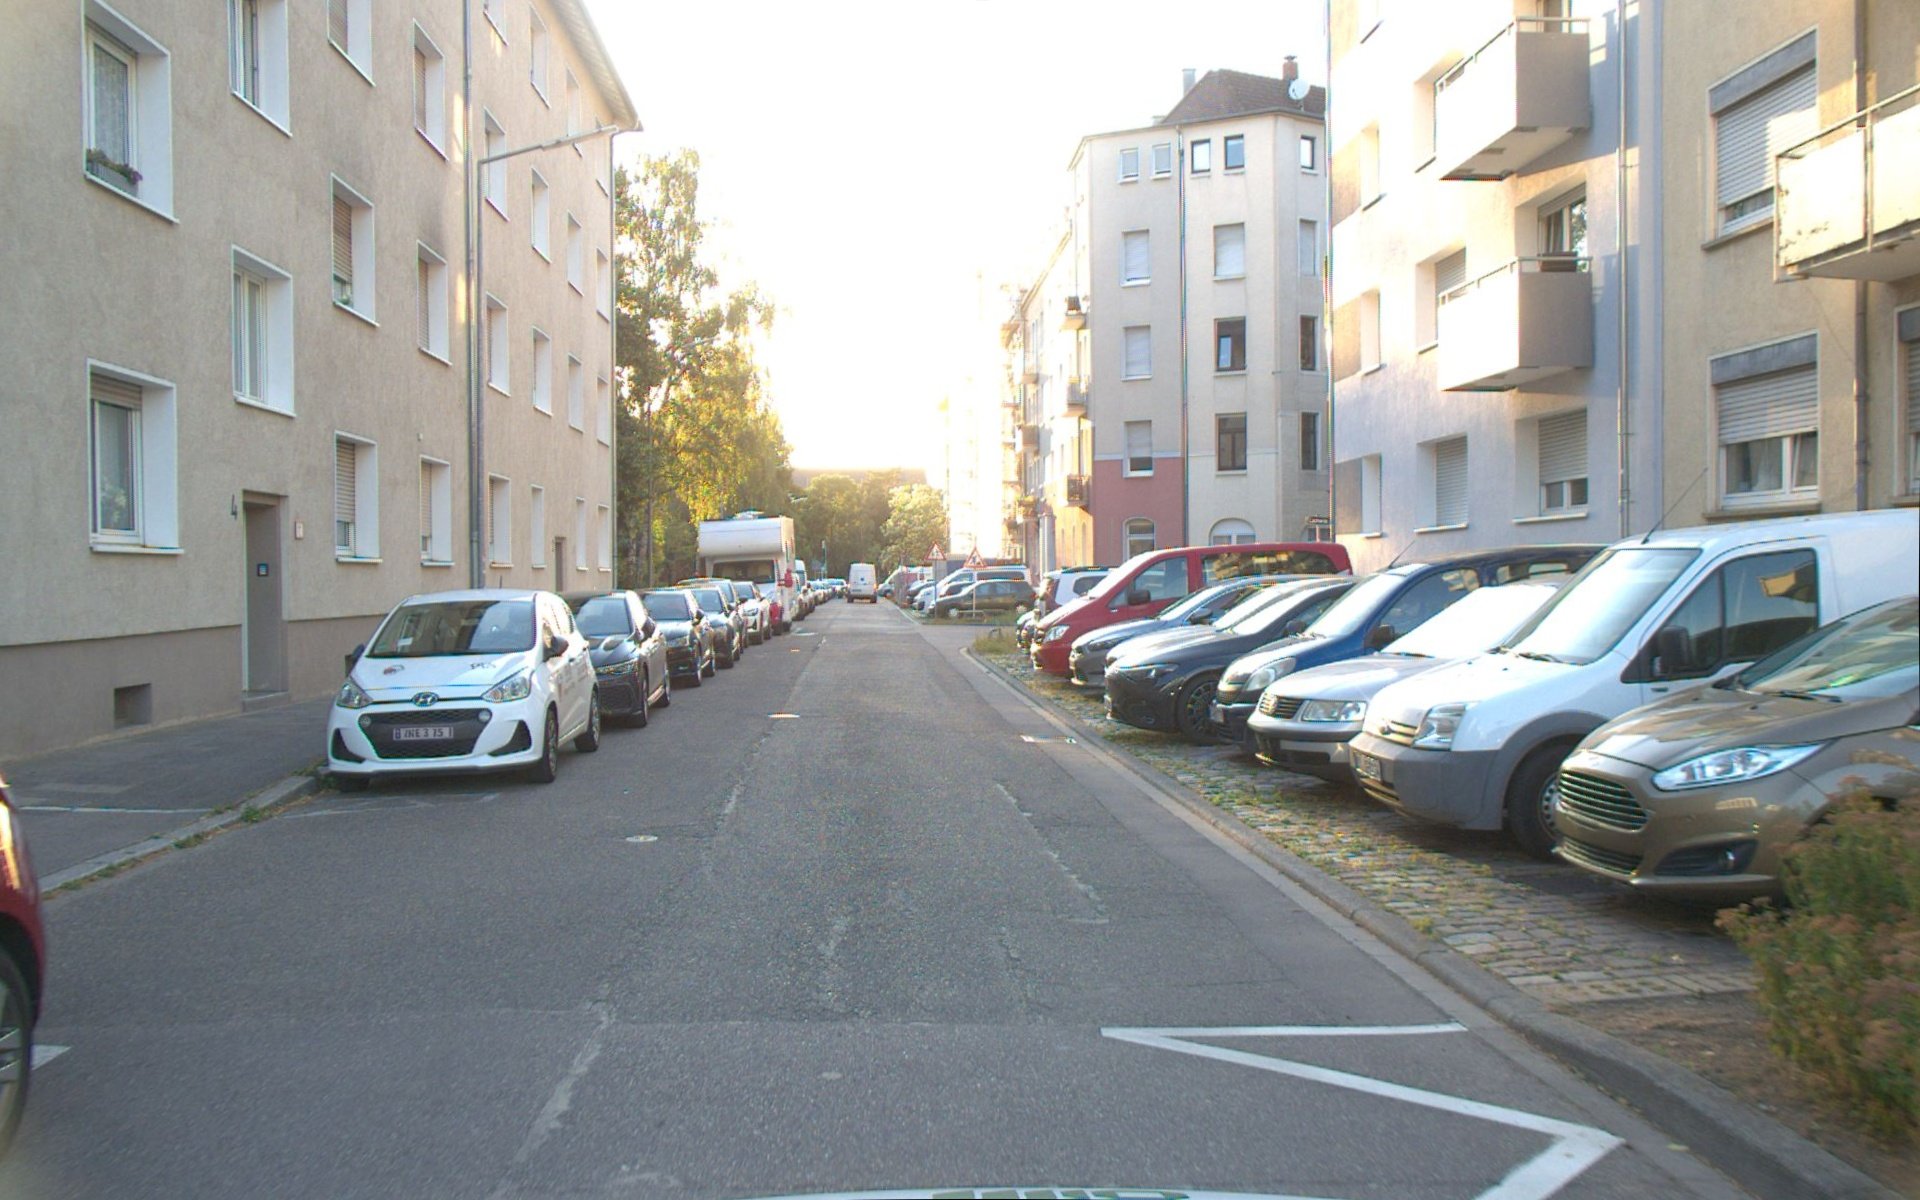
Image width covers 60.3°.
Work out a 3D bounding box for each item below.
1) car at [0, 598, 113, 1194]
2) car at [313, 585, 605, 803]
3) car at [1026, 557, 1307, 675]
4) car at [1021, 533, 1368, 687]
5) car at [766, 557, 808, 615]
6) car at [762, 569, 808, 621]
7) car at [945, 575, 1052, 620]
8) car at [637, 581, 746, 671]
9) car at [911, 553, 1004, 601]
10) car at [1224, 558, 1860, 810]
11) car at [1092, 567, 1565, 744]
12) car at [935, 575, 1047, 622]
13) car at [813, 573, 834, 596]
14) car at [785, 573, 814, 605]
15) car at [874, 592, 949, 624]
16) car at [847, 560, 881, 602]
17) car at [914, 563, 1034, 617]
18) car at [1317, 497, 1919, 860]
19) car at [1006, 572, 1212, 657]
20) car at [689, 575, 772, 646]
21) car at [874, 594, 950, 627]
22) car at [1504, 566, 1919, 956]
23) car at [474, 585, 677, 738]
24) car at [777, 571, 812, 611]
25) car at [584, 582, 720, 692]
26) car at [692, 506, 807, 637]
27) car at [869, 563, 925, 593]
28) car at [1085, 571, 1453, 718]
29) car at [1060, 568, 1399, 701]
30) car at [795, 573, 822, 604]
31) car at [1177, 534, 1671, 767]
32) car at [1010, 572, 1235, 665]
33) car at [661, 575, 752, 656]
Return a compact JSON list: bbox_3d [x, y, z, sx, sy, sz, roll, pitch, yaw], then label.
[{"bbox_3d":[-3.216,0.782,2.721,1.809,1.499,4.074,-1,1,-5],"label":"car"},{"bbox_3d":[-4.009,0.661,13.766,1.584,1.499,3.501,-2,1,-5],"label":"car"},{"bbox_3d":[3.308,0.239,26.983,4.239,1.666,1.816,-2,0,-5],"label":"car"},{"bbox_3d":[3.325,0.122,24.077,4.630,1.942,2.057,-2,0,-5],"label":"car"},{"bbox_3d":[-7.789,-0.647,74.827,1.735,2.488,5.140,-2,1,-5],"label":"car"},{"bbox_3d":[-6.724,-0.206,63.870,1.621,1.862,3.872,-2,1,-5],"label":"car"},{"bbox_3d":[1.441,-0.115,62.725,3.909,1.557,1.657,-2,1,-4],"label":"car"},{"bbox_3d":[-4.811,0.419,30.038,1.621,1.459,3.872,-2,1,-5],"label":"car"},{"bbox_3d":[-0.144,-1.035,73.436,3.912,2.049,1.997,-1,1,-8],"label":"car"},{"bbox_3d":[3.971,0.529,11.673,3.877,1.548,1.705,-1,1,-4],"label":"car"},{"bbox_3d":[3.536,0.509,16.316,4.223,1.475,1.654,-2,0,-4],"label":"car"},{"bbox_3d":[1.114,-0.058,60.382,3.909,1.557,1.657,-2,1,-4],"label":"car"},{"bbox_3d":[-11.599,-1.337,140.351,1.621,1.862,3.872,-2,1,-5],"label":"car"},{"bbox_3d":[-9.632,-0.673,99.241,1.621,1.862,3.872,-2,1,-5],"label":"car"},{"bbox_3d":[-2.619,0.429,88.745,3.909,1.557,1.657,-2,1,-4],"label":"car"},{"bbox_3d":[-6.696,-1.330,114.777,2.087,2.764,4.828,-2,1,-5],"label":"car"},{"bbox_3d":[0.559,-0.430,67.321,4.719,2.002,1.737,-2,1,-4],"label":"car"},{"bbox_3d":[4.412,0.396,9.741,4.195,1.893,1.740,-1,0,-4],"label":"car"},{"bbox_3d":[2.852,0.258,32.136,3.737,1.453,1.633,-2,0,-5],"label":"car"},{"bbox_3d":[-5.479,0.218,39.862,1.620,1.568,3.873,-2,1,-3],"label":"car"},{"bbox_3d":[-2.535,0.519,86.721,3.909,1.557,1.657,-2,1,-4],"label":"car"},{"bbox_3d":[4.649,0.601,7.467,3.795,1.518,1.740,-1,1,-4],"label":"car"},{"bbox_3d":[-4.233,0.603,18.757,1.627,1.459,4.027,-2,1,-5],"label":"car"},{"bbox_3d":[-8.078,-0.467,80.974,1.621,1.862,3.872,-2,1,-5],"label":"car"},{"bbox_3d":[-4.592,0.500,25.082,1.621,1.459,3.792,-2,1,-5],"label":"car"},{"bbox_3d":[-5.858,-0.796,47.090,2.568,3.325,7.692,-2,1,-3],"label":"car"},{"bbox_3d":[-5.419,-1.894,142.925,4.719,2.450,1.737,-2,1,-4],"label":"car"},{"bbox_3d":[3.472,0.479,18.942,3.800,1.440,1.634,-2,0,-6],"label":"car"},{"bbox_3d":[3.451,0.425,21.591,4.064,1.496,1.635,-2,0,-5],"label":"car"},{"bbox_3d":[-9.528,-0.760,104.205,1.621,1.862,3.872,-2,1,-5],"label":"car"},{"bbox_3d":[3.892,0.393,14.237,3.716,1.725,1.654,-2,0,-4],"label":"car"},{"bbox_3d":[2.858,0.318,29.535,3.737,1.453,1.633,-2,0,-5],"label":"car"},{"bbox_3d":[-5.400,0.292,35.622,1.621,1.592,3.872,-2,1,-5],"label":"car"}]
